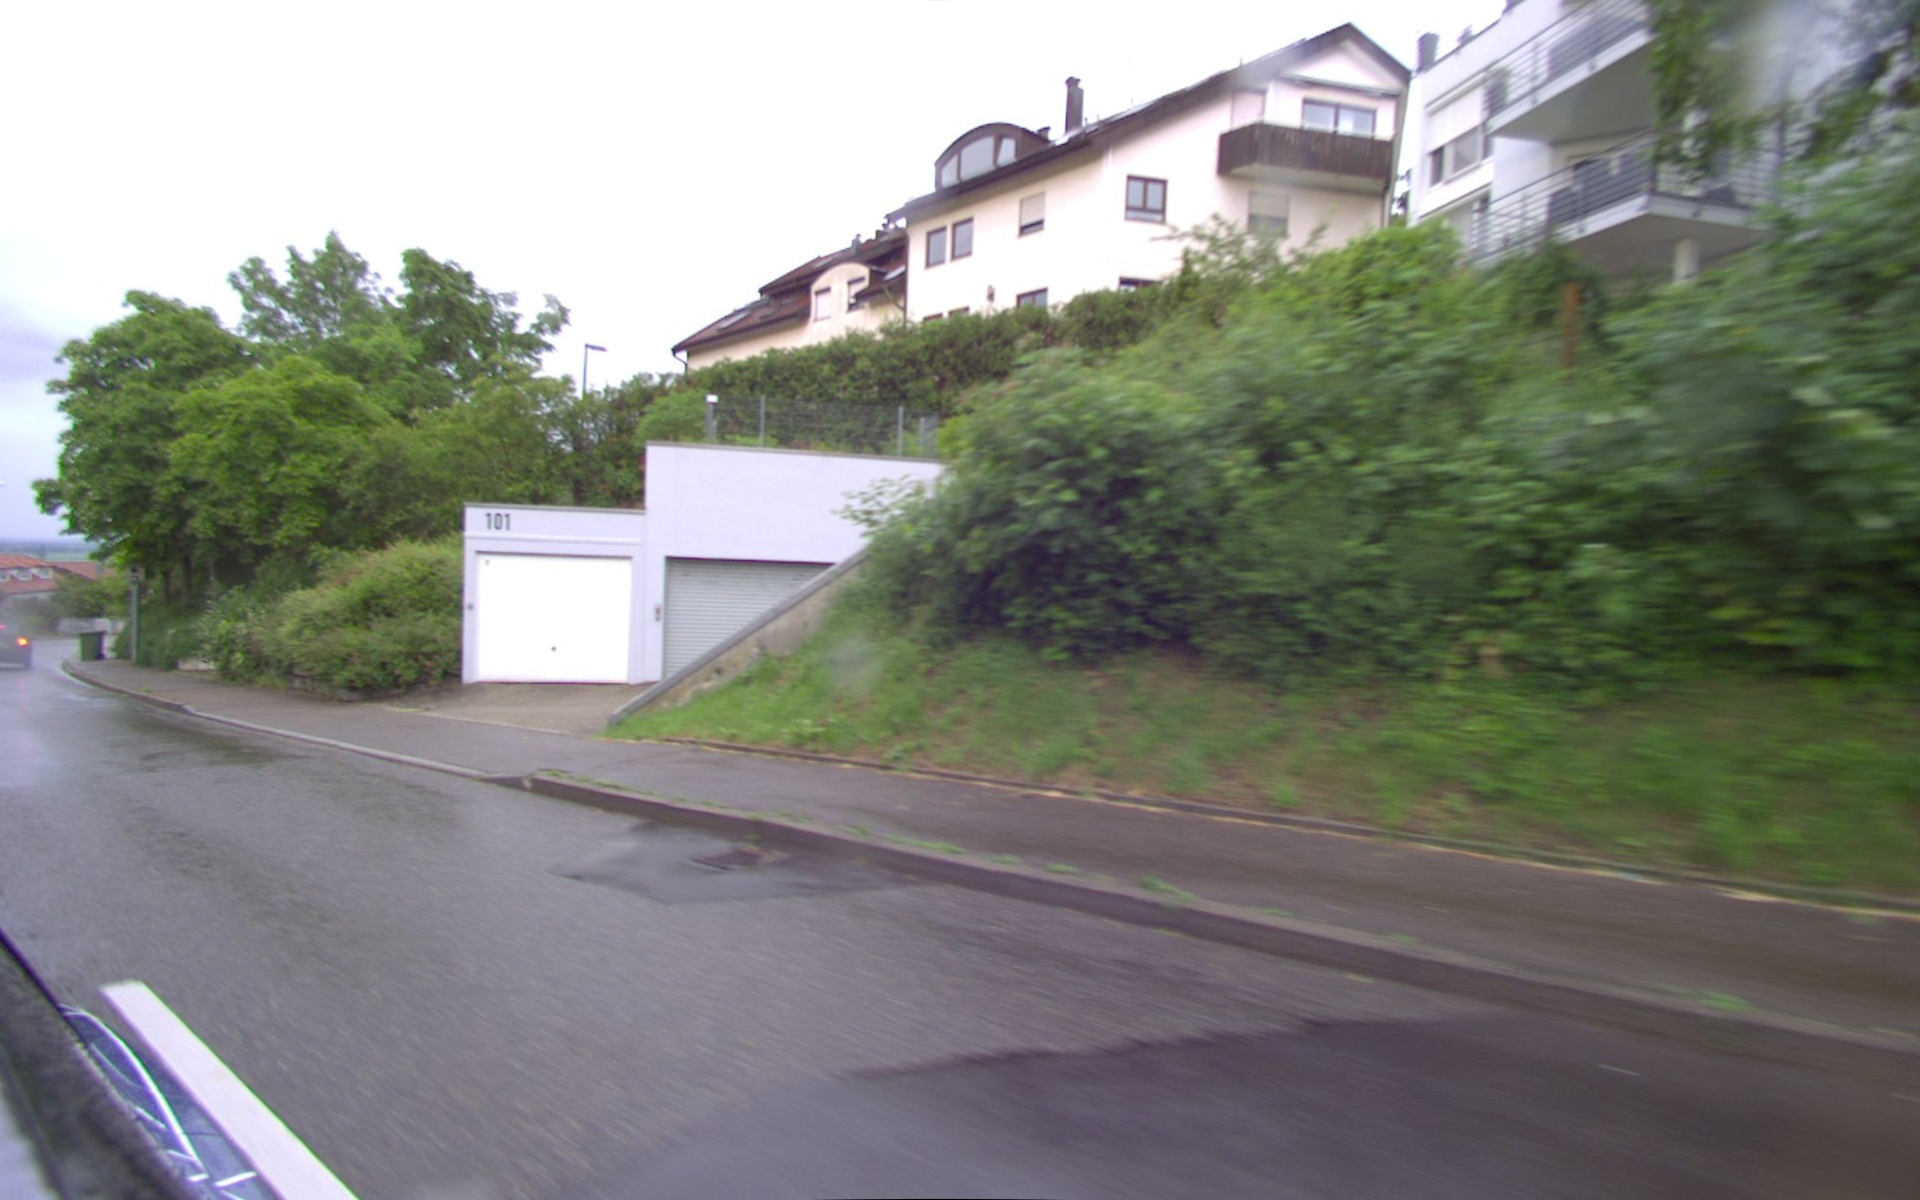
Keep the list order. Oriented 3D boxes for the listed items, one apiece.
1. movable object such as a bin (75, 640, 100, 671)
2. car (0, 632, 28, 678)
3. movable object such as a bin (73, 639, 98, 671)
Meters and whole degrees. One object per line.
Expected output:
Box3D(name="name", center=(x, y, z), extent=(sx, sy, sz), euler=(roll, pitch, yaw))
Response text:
Box3D(name="movable object such as a bin", center=(-31.636, 1.997, 36.700), extent=(0.640, 1.112, 0.674), euler=(2, -3, -41))
Box3D(name="car", center=(-30.450, 1.705, 31.645), extent=(3.529, 1.395, 1.632), euler=(-2, -3, 43))
Box3D(name="movable object such as a bin", center=(-31.265, 1.973, 36.191), extent=(0.640, 1.124, 0.506), euler=(2, -3, -41))
